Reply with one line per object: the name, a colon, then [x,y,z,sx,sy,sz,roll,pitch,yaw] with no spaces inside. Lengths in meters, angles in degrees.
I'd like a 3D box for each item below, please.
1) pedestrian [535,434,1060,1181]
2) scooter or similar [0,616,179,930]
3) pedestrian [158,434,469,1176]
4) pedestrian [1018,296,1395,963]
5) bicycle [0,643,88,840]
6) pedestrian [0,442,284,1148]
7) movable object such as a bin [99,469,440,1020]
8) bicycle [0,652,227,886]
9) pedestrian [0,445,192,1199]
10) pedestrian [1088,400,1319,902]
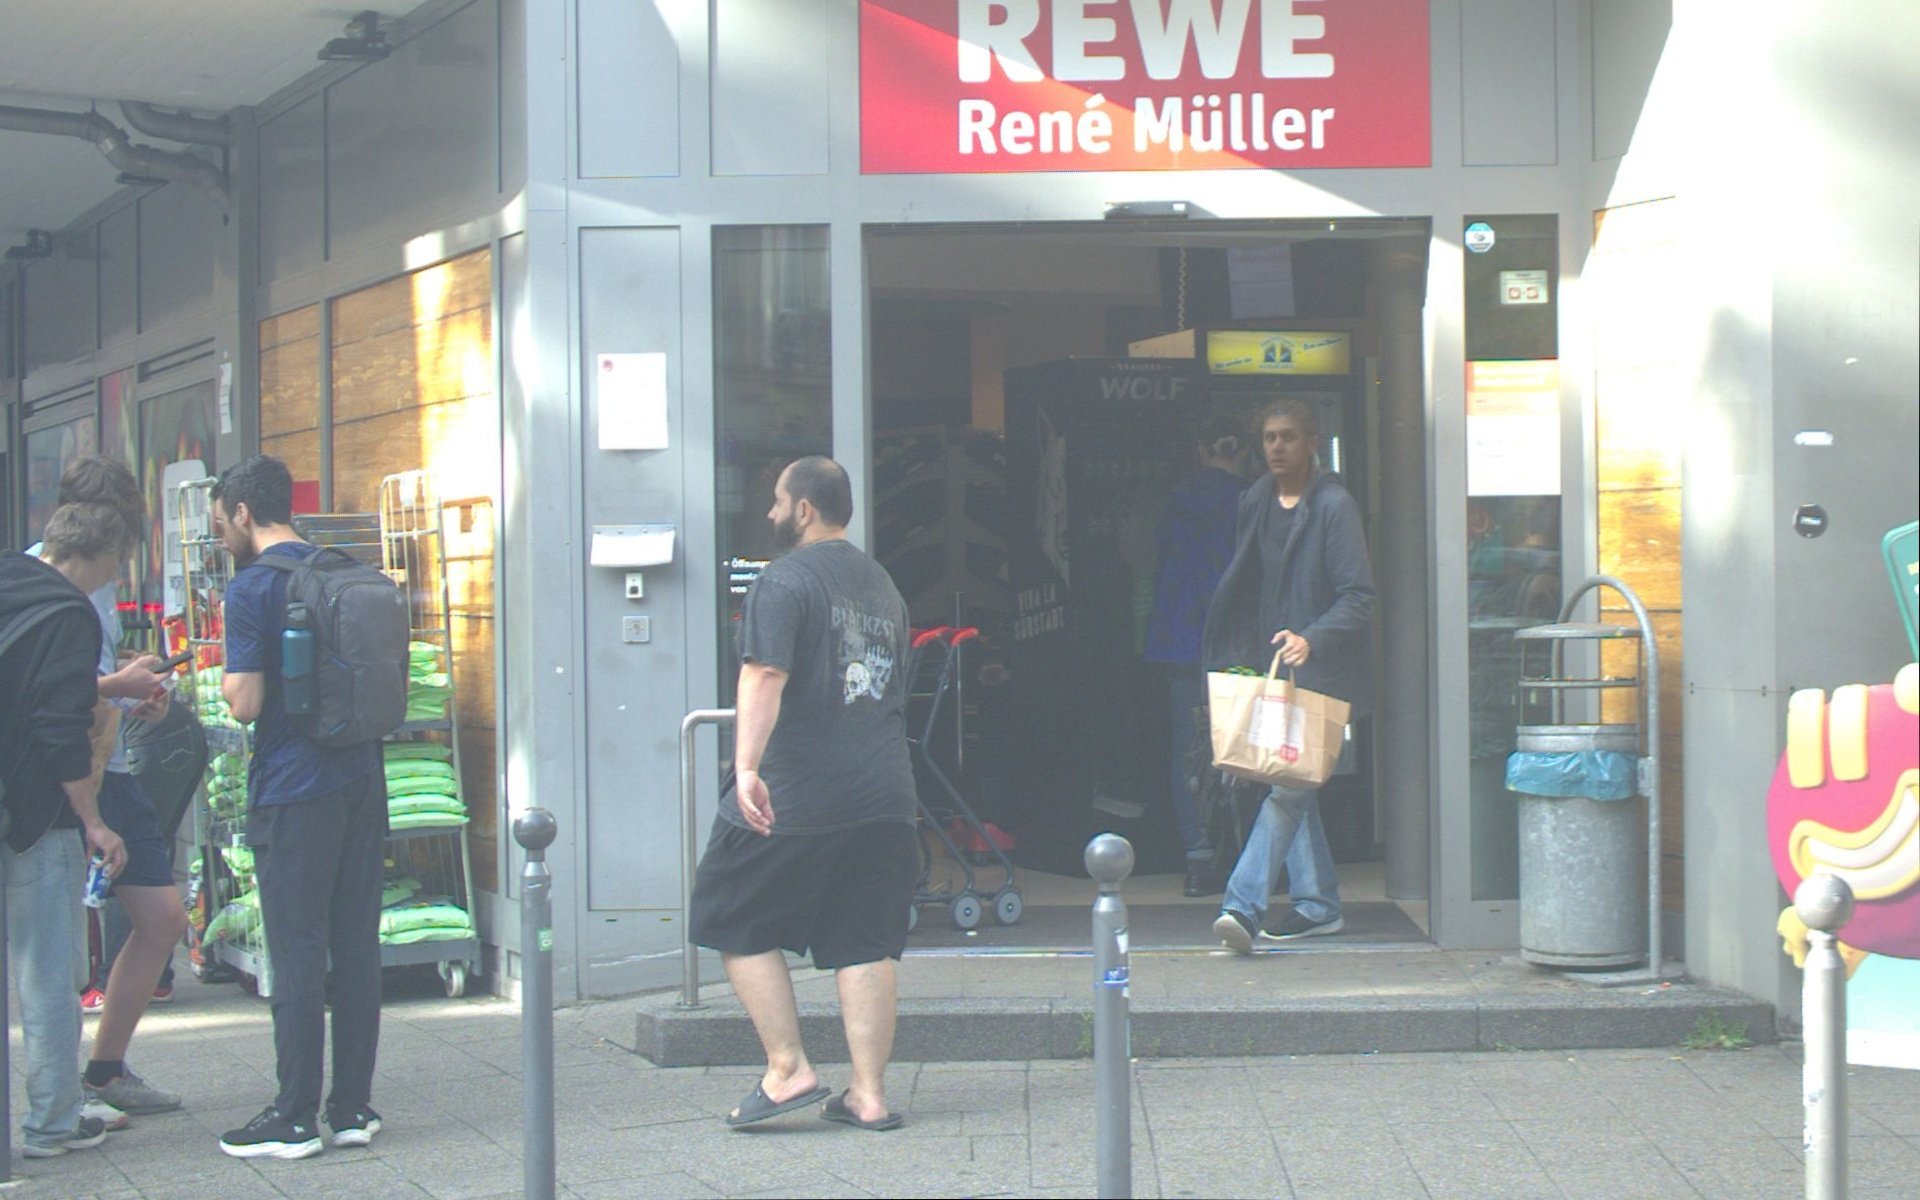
pedestrian: [-0.428,0.478,8.773,0.849,1.741,1.049,-4,2,-33]
scooter or similar: [-3.772,0.697,14.471,0.632,1.208,1.256,-3,2,-26]
pedestrian: [-1.646,0.490,8.790,0.653,1.791,0.659,-3,3,-10]
pedestrian: [0.799,0.080,10.866,1.031,2.006,0.863,-1,2,13]
bicycle: [-5.528,0.780,19.351,0.741,1.011,1.783,-3,2,-28]
pedestrian: [-2.298,0.497,9.116,0.713,1.791,0.632,-2,3,10]
movable object such as a bin: [-2.481,0.443,12.105,0.779,1.738,2.424,-1,1,-21]
bicycle: [-4.272,0.785,16.463,0.676,1.039,1.733,-1,0,-43]
pedestrian: [-2.429,0.530,8.567,0.631,1.791,0.714,-2,3,18]
pedestrian: [0.868,0.171,12.480,0.763,1.747,0.930,0,1,0]
